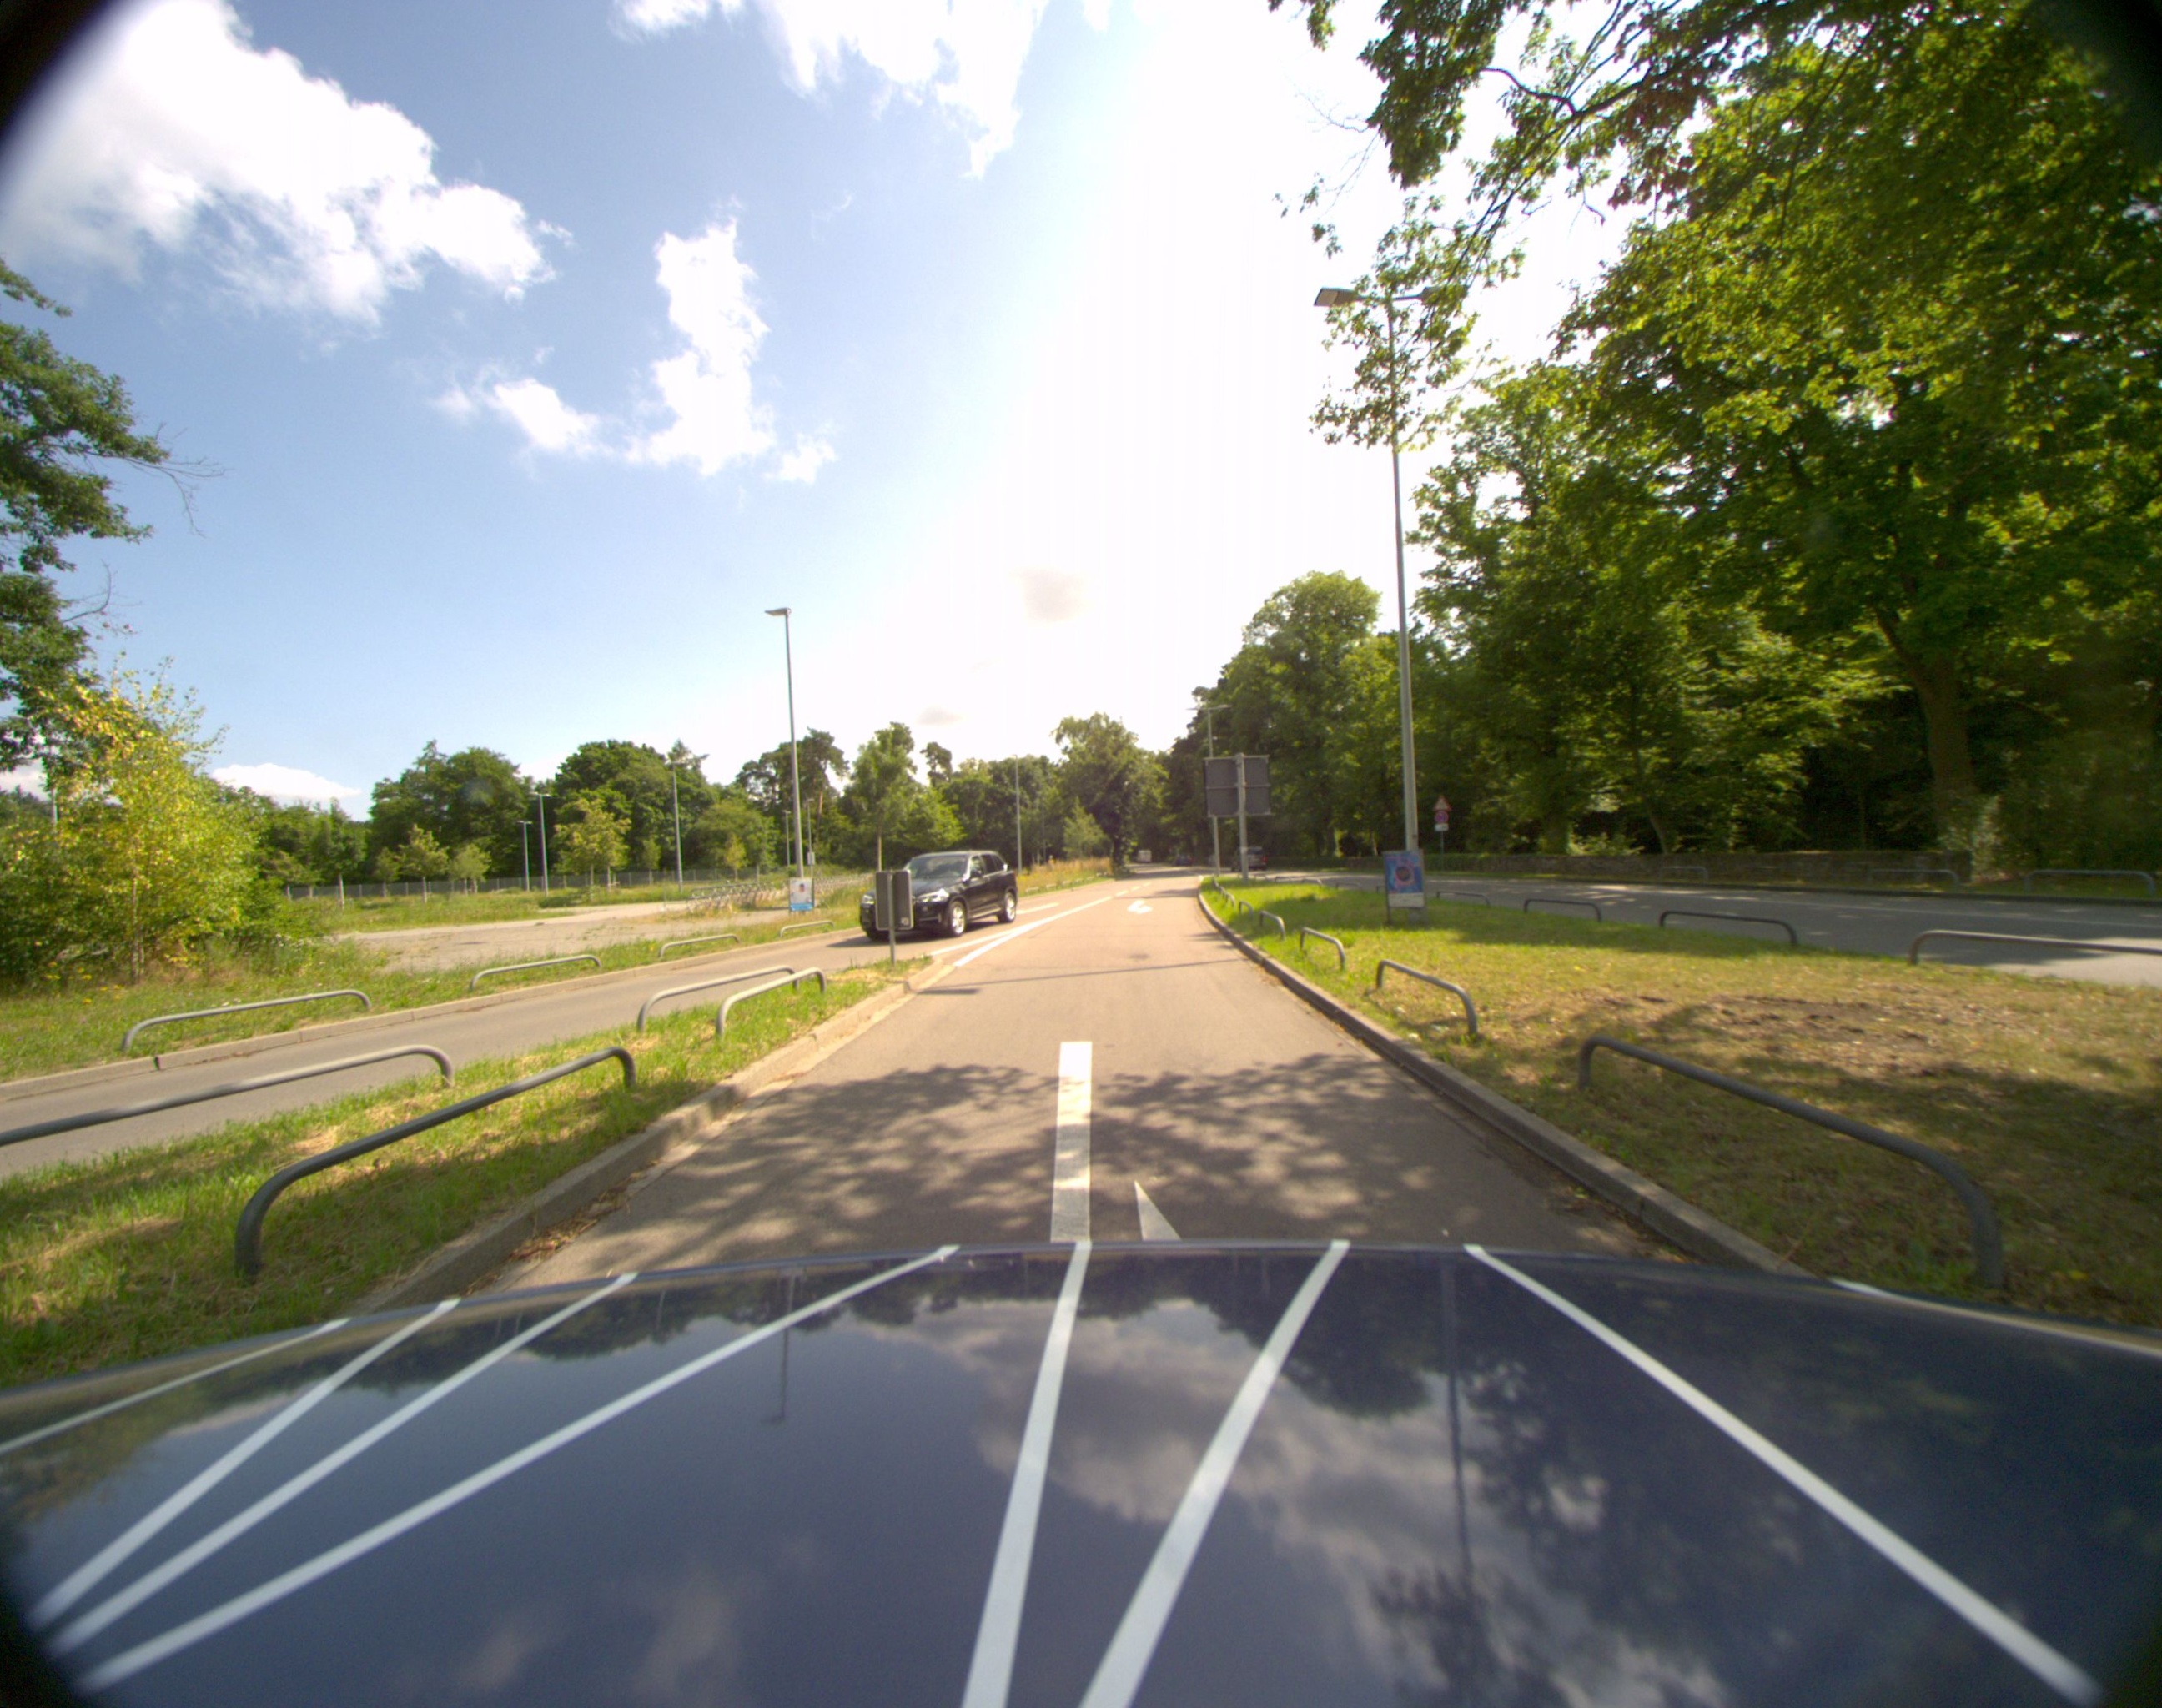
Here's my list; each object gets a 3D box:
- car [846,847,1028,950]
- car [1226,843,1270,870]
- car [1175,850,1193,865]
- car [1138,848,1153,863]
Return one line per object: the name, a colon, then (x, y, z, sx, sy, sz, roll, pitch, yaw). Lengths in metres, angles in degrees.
car: (-2.885, 0.838, 16.528, 1.978, 1.755, 4.711, -3, 1, 15)
car: (11.302, 0.175, 51.570, 1.766, 1.620, 4.298, -5, 0, -2)
car: (11.847, 0.369, 87.384, 1.698, 1.438, 4.067, -4, 1, 4)
car: (11.339, 0.181, 133.833, 1.980, 2.417, 5.361, -4, 1, -2)
